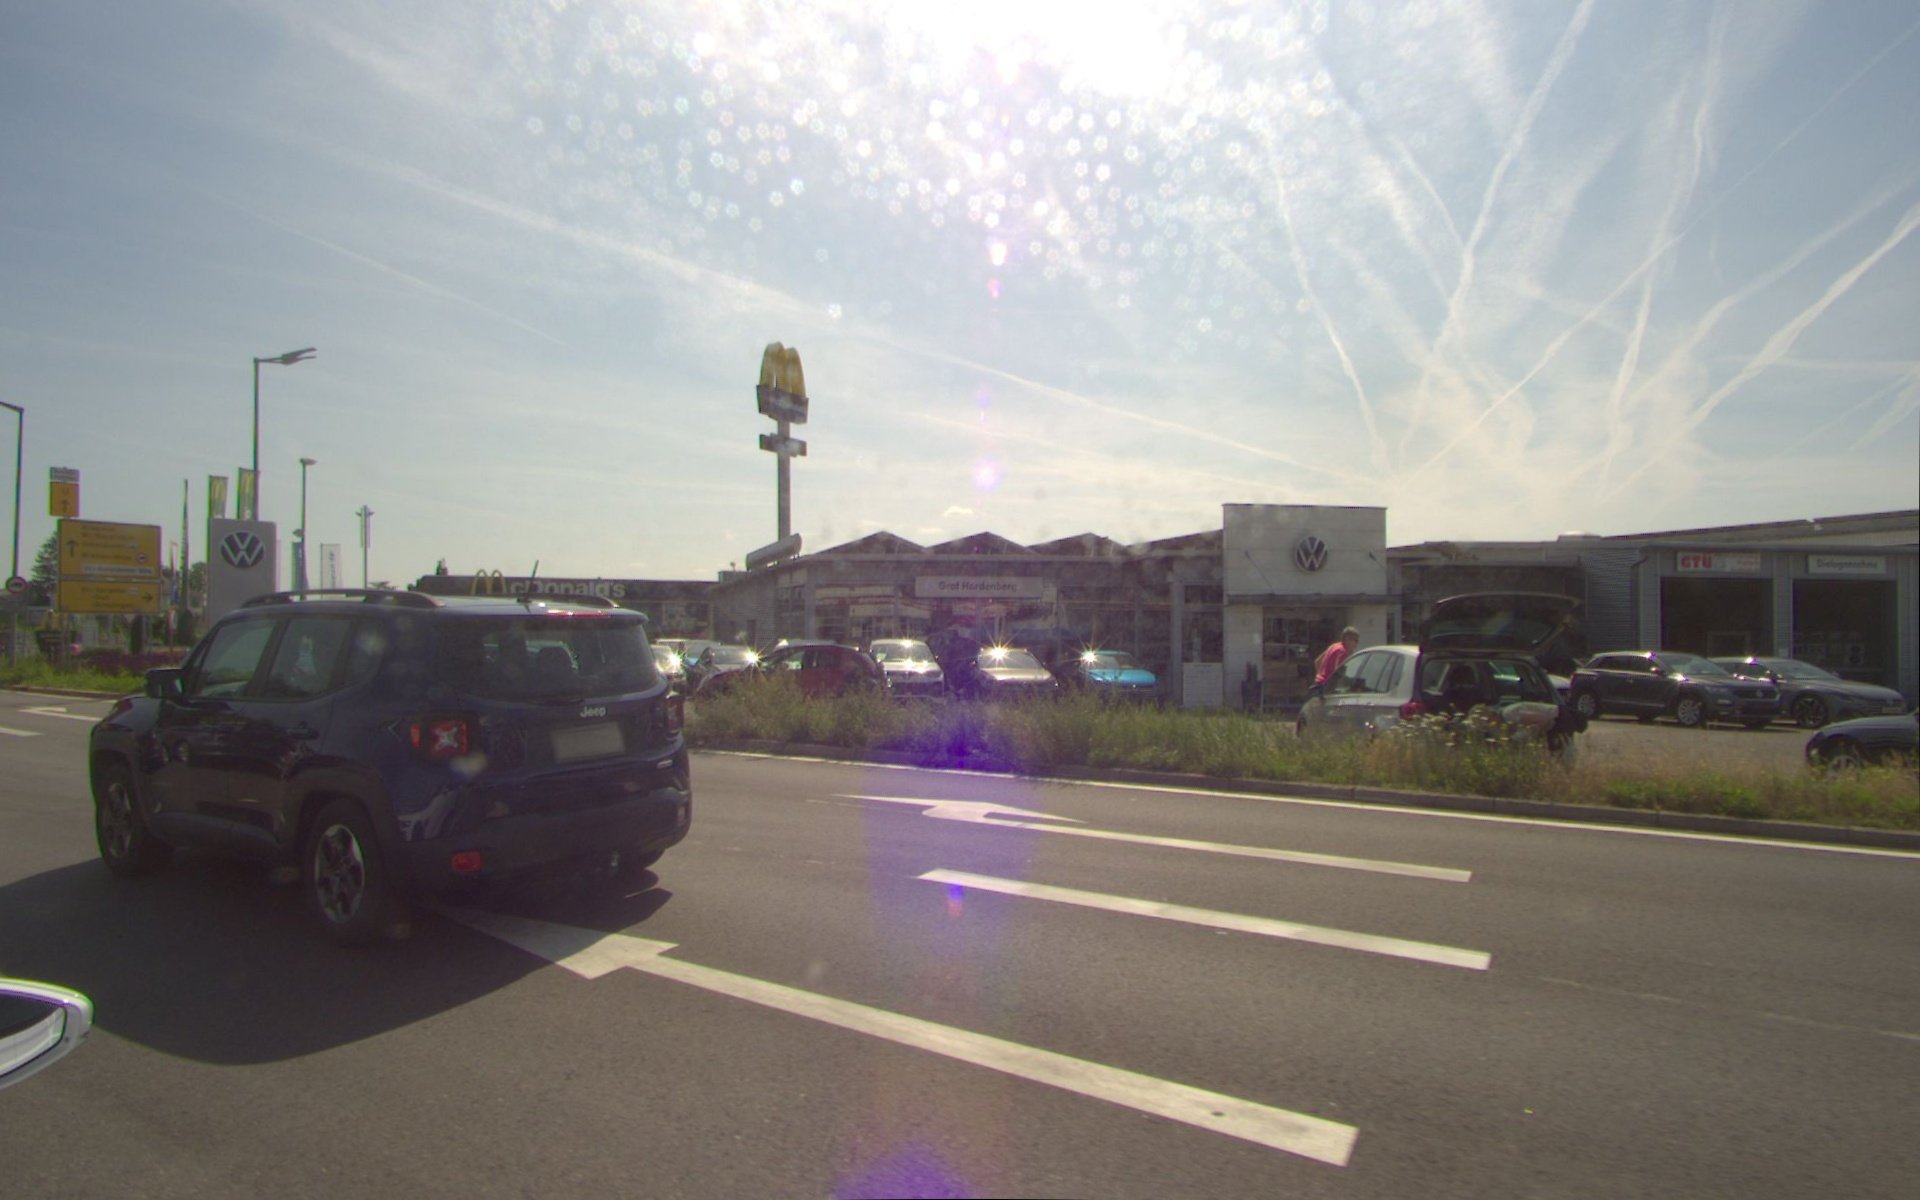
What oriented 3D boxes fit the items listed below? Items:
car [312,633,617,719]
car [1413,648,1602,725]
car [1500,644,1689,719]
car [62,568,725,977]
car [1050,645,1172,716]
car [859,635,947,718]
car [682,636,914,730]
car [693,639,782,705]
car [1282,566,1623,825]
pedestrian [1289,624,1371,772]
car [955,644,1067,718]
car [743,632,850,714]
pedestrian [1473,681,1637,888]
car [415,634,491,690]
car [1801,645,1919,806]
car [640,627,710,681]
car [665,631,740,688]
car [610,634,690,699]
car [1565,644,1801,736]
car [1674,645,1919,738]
[{"bbox_3d":[-9.112,1.469,18.884,4.729,1.347,1.967,3,-6,-13],"label":"car"},{"bbox_3d":[14.145,2.163,26.229,1.744,1.676,4.545,0,-1,-14],"label":"car"},{"bbox_3d":[16.478,2.054,26.267,1.744,1.676,4.166,0,-1,-14],"label":"car"},{"bbox_3d":[-3.441,0.737,5.908,3.943,1.676,1.767,-1,-1,32],"label":"car"},{"bbox_3d":[3.542,1.881,24.281,1.789,1.428,4.112,0,-1,-9],"label":"car"},{"bbox_3d":[-1.375,1.717,23.505,1.884,1.692,4.000,0,-1,-5],"label":"car"},{"bbox_3d":[-2.990,1.527,18.948,3.998,1.675,1.777,0,-2,7],"label":"car"},{"bbox_3d":[-5.961,1.843,26.507,1.721,1.495,3.784,0,-1,-22],"label":"car"},{"bbox_3d":[4.987,0.863,10.901,1.729,2.242,4.349,0,-1,3],"label":"car"},{"bbox_3d":[5.021,1.295,13.648,0.729,1.937,0.989,0,0,-2],"label":"pedestrian"},{"bbox_3d":[1.094,1.844,23.777,1.858,1.476,4.209,0,-1,-9],"label":"car"},{"bbox_3d":[-3.735,1.642,23.568,1.741,1.692,4.026,0,-1,2],"label":"car"},{"bbox_3d":[4.960,1.504,8.395,0.920,1.605,0.758,0,0,-1],"label":"pedestrian"},{"bbox_3d":[-16.338,1.933,32.443,1.830,1.597,4.221,0,-1,-22],"label":"car"},{"bbox_3d":[9.891,1.184,8.560,1.741,1.471,4.344,0,-1,0],"label":"car"},{"bbox_3d":[-10.142,1.844,35.392,1.881,1.692,4.804,0,-1,-22],"label":"car"},{"bbox_3d":[-7.951,1.770,30.696,1.747,1.538,3.948,0,-1,-22],"label":"car"},{"bbox_3d":[-8.366,1.713,26.815,1.720,1.511,4.251,0,-1,-22],"label":"car"},{"bbox_3d":[15.227,1.836,21.386,1.662,1.629,4.074,1,-1,-10],"label":"car"},{"bbox_3d":[17.834,1.858,21.482,1.742,1.676,4.075,0,-1,-9],"label":"car"}]
